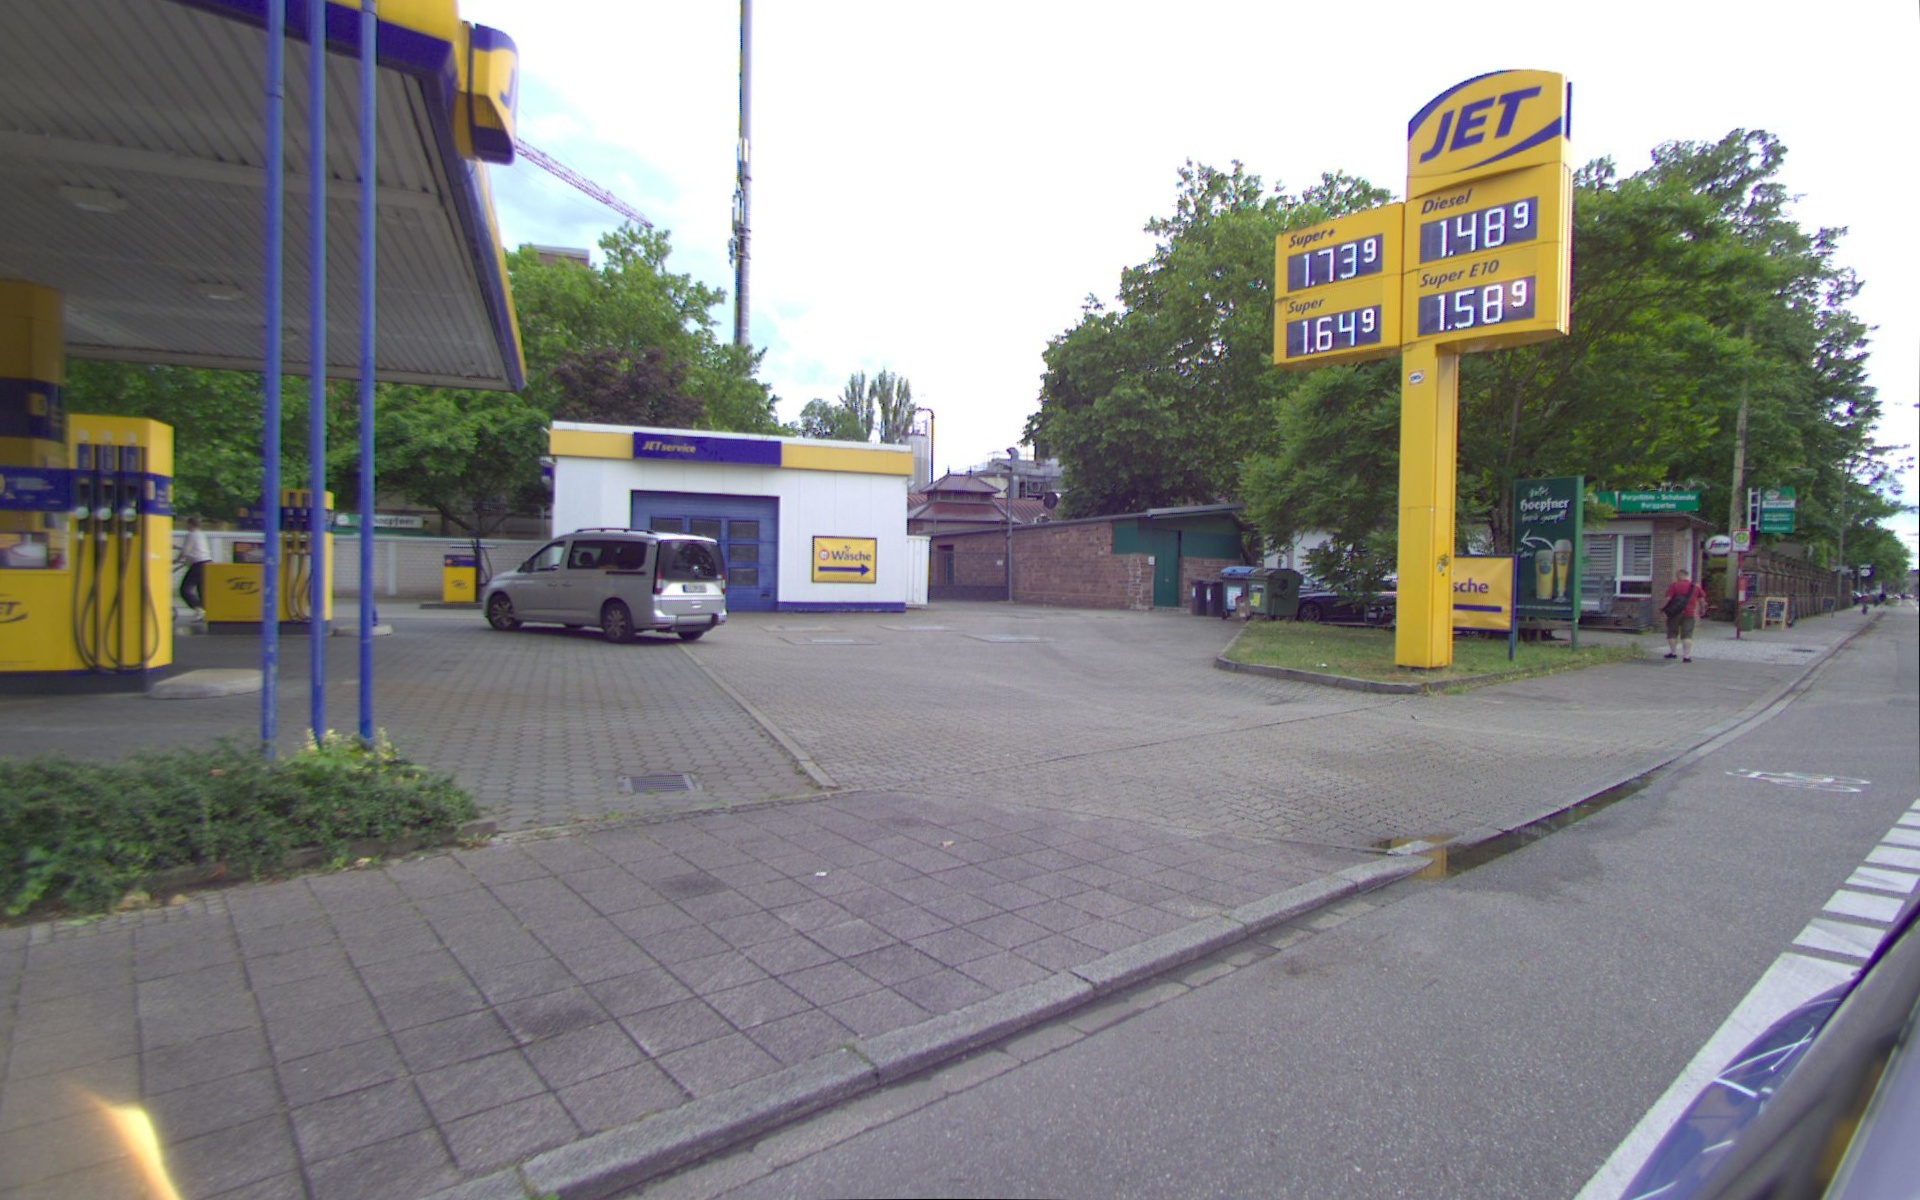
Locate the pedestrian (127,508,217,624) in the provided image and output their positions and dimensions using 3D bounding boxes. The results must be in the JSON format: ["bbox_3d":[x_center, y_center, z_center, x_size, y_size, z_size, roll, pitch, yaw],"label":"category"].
[{"bbox_3d":[-13.096,-0.560,16.834,0.952,1.842,0.603,4,1,3],"label":"pedestrian"}]

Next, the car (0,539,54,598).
[{"bbox_3d":[-28.269,-0.943,27.985,4.332,1.606,1.963,2,0,-21],"label":"car"}]

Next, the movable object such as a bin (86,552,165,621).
[{"bbox_3d":[-13.882,-0.231,16.850,0.781,1.079,0.603,4,1,3],"label":"movable object such as a bin"}]

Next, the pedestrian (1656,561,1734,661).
[{"bbox_3d":[13.854,0.187,19.095,0.859,1.768,0.846,4,4,19],"label":"pedestrian"}]

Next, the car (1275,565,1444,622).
[{"bbox_3d":[10.970,-0.192,27.945,3.920,1.536,1.829,0,1,-5],"label":"car"}]

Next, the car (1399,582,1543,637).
[{"bbox_3d":[13.058,0.184,25.800,3.931,1.304,1.997,-1,1,-42],"label":"car"}]

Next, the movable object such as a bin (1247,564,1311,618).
[{"bbox_3d":[8.120,-0.242,25.795,1.136,1.336,1.123,0,1,-11],"label":"movable object such as a bin"}]

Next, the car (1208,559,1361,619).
[{"bbox_3d":[9.644,-0.345,30.256,3.943,1.717,1.815,0,1,-9],"label":"car"}]

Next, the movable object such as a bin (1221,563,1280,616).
[{"bbox_3d":[7.730,-0.294,26.994,1.136,1.375,1.123,0,1,-11],"label":"movable object such as a bin"}]

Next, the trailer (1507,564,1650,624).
[{"bbox_3d":[18.318,-0.237,30.049,1.746,1.549,3.285,-4,6,-44],"label":"trailer"}]

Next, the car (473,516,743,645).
[{"bbox_3d":[-6.116,-0.410,17.475,4.492,1.865,1.966,4,3,31],"label":"car"}]
